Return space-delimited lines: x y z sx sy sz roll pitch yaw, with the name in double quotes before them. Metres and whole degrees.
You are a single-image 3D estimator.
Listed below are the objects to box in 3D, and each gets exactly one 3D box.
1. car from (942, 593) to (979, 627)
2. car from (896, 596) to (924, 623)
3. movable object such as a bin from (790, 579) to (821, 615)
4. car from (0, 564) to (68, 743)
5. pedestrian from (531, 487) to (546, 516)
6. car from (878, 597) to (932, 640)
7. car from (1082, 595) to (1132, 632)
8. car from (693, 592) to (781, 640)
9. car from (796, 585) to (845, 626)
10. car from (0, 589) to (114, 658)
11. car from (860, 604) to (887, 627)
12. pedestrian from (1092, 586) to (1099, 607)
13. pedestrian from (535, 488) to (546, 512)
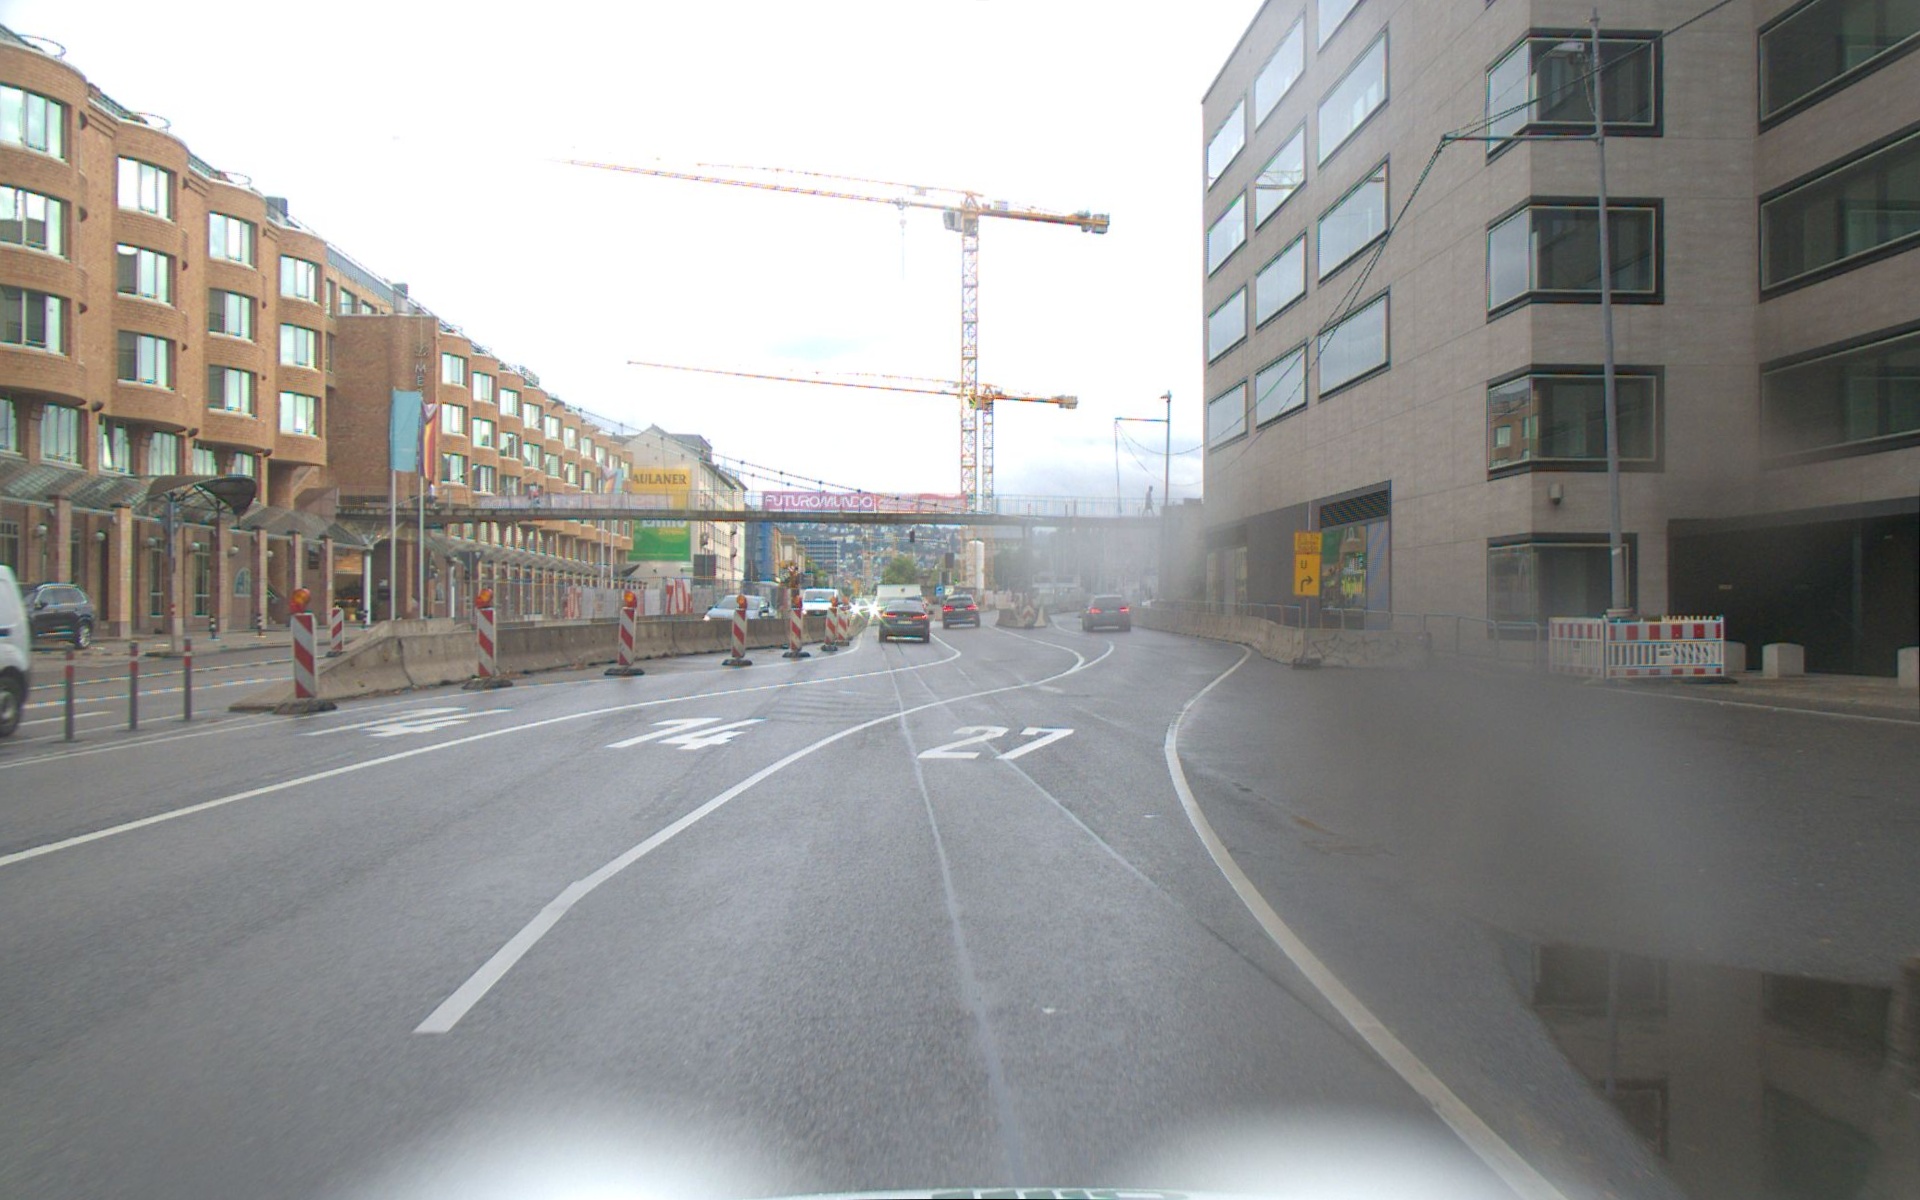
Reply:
"car" 0.022 0.496 84.434 1.825 1.690 4.655 0 0 -1
"car" -3.442 0.604 112.880 1.826 1.796 4.653 0 0 -3
"movable object such as a bin" -10.905 -0.200 116.791 1.987 2.317 4.288 -4 0 -5
"car" -10.653 0.539 15.554 1.847 1.814 4.877 0 0 0
"pedestrian" -22.438 -5.258 88.136 0.608 1.477 0.618 -1 0 1
"car" -1.960 0.625 58.381 1.825 1.468 4.654 0 0 -2
"car" 5.996 0.526 67.901 1.824 1.458 4.658 0 0 3
"car" -7.099 0.486 53.086 1.951 1.485 4.231 0 0 4
"car" -6.743 0.263 80.401 1.953 1.918 4.870 0 0 0
"car" -24.599 0.573 43.692 1.953 1.720 5.049 0 0 -1
"car" -6.608 1.170 126.619 1.953 1.651 4.700 -1 1 -2
"pedestrian" 12.873 -0.318 157.588 0.613 2.049 0.664 0 0 10
"pedestrian" -22.345 -5.328 88.130 0.465 1.215 0.484 -1 0 1
